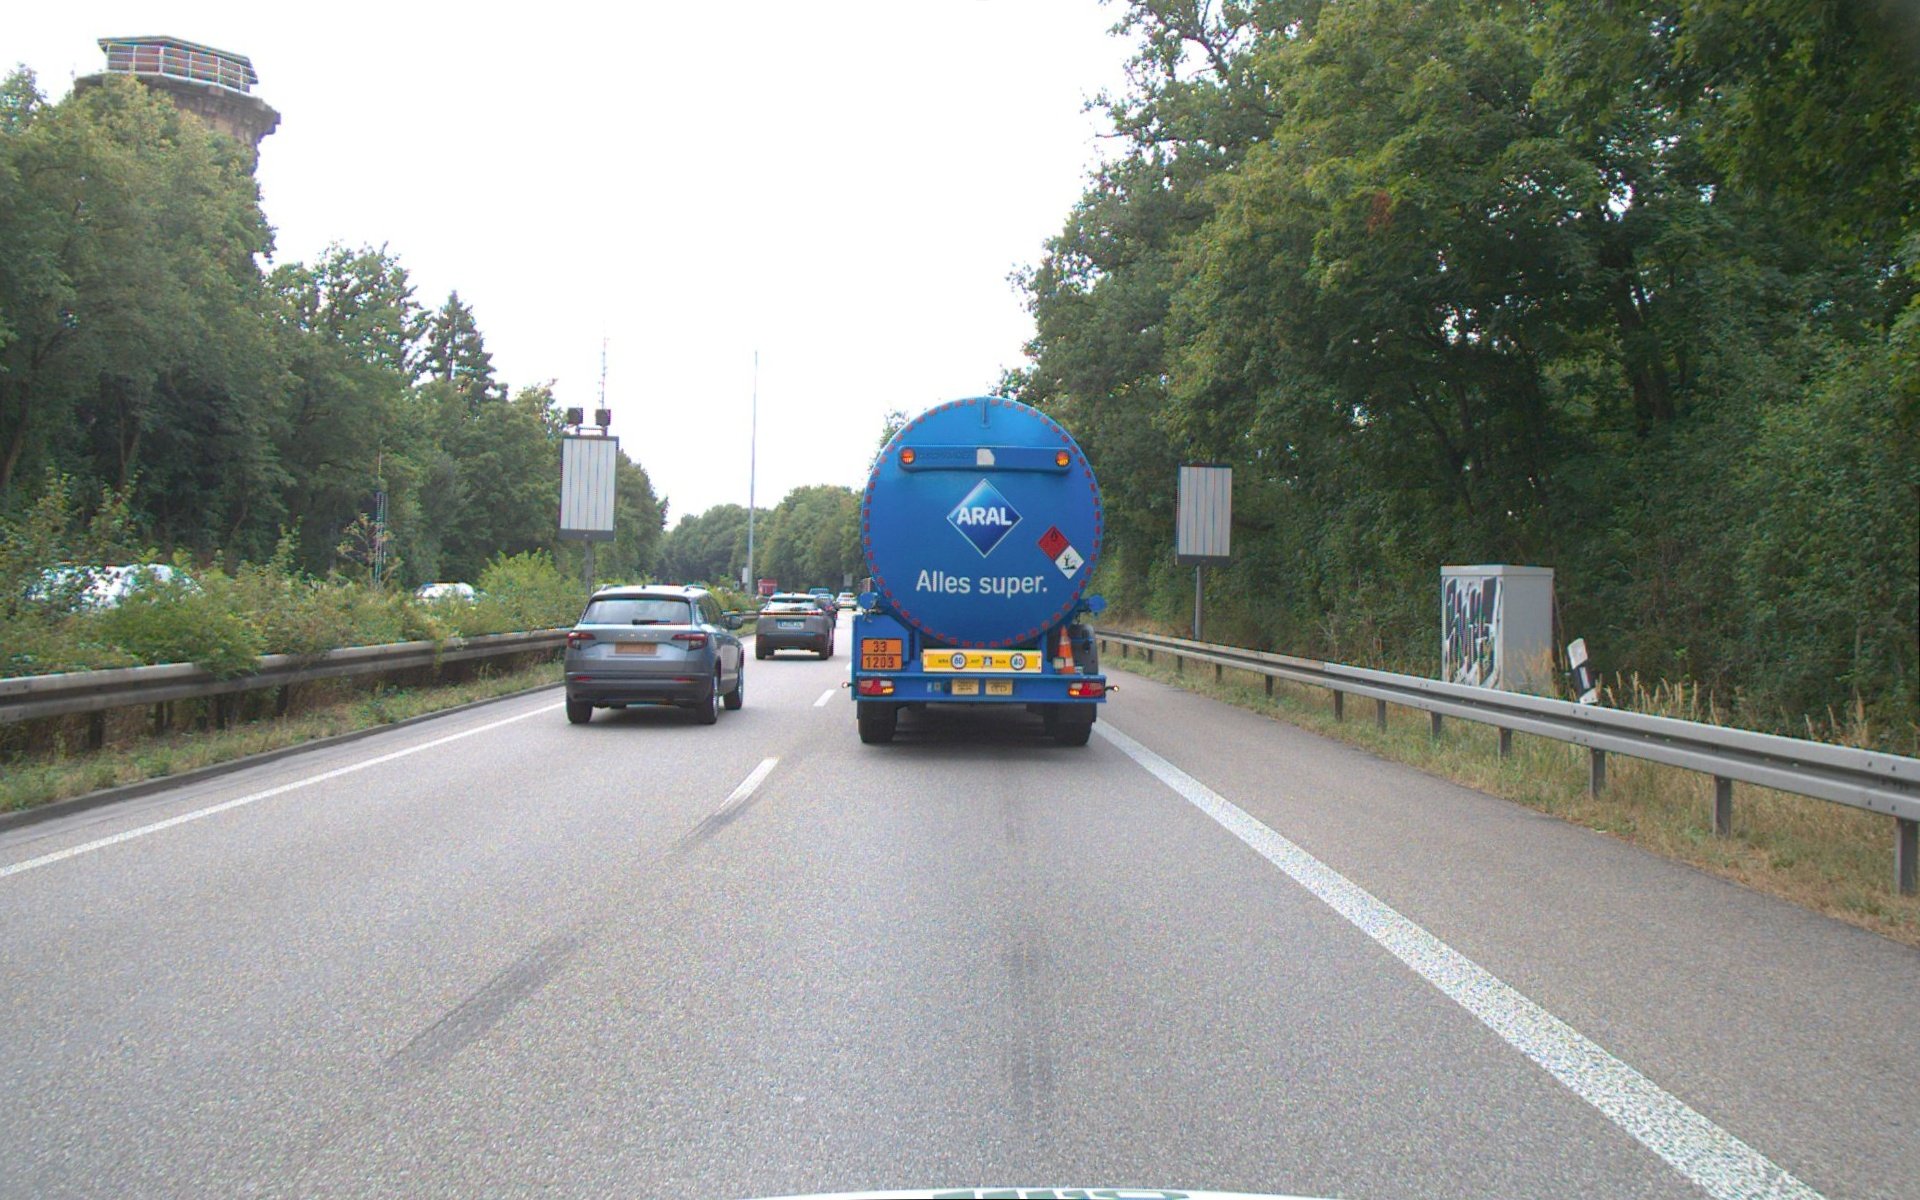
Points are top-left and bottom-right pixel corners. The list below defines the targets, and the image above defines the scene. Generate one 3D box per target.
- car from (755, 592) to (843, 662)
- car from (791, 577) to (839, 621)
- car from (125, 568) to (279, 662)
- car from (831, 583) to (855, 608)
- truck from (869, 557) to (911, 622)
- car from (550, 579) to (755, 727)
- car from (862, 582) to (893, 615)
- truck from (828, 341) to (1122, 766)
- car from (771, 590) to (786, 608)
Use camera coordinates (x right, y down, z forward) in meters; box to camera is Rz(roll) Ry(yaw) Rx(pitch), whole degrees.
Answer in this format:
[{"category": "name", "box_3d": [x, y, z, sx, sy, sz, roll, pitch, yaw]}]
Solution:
[{"category": "car", "box_3d": [-3.910, 0.657, 40.713, 1.789, 1.638, 4.166, 0, -1, -1]}, {"category": "car", "box_3d": [-6.867, -0.029, 78.803, 1.953, 2.049, 3.999, 0, -1, -1]}, {"category": "car", "box_3d": [-17.431, 0.359, 38.235, 1.783, 2.049, 3.998, 0, -1, -2]}, {"category": "car", "box_3d": [-10.965, -0.423, 155.405, 1.953, 2.284, 3.999, 0, -1, -1]}, {"category": "truck", "box_3d": [-3.480, -0.458, 83.231, 1.953, 3.147, 7.812, 0, -1, -2]}, {"category": "car", "box_3d": [-3.689, 0.614, 20.540, 1.789, 1.638, 4.166, 0, -1, -1]}, {"category": "car", "box_3d": [-5.822, -0.073, 117.112, 1.952, 2.284, 4.000, 0, -1, 0]}, {"category": "truck", "box_3d": [0.111, -0.390, 19.157, 2.699, 3.914, 7.687, 0, -1, -1]}, {"category": "car", "box_3d": [-23.683, -0.154, 215.754, 1.956, 2.284, 3.993, 0, -1, -7]}]
